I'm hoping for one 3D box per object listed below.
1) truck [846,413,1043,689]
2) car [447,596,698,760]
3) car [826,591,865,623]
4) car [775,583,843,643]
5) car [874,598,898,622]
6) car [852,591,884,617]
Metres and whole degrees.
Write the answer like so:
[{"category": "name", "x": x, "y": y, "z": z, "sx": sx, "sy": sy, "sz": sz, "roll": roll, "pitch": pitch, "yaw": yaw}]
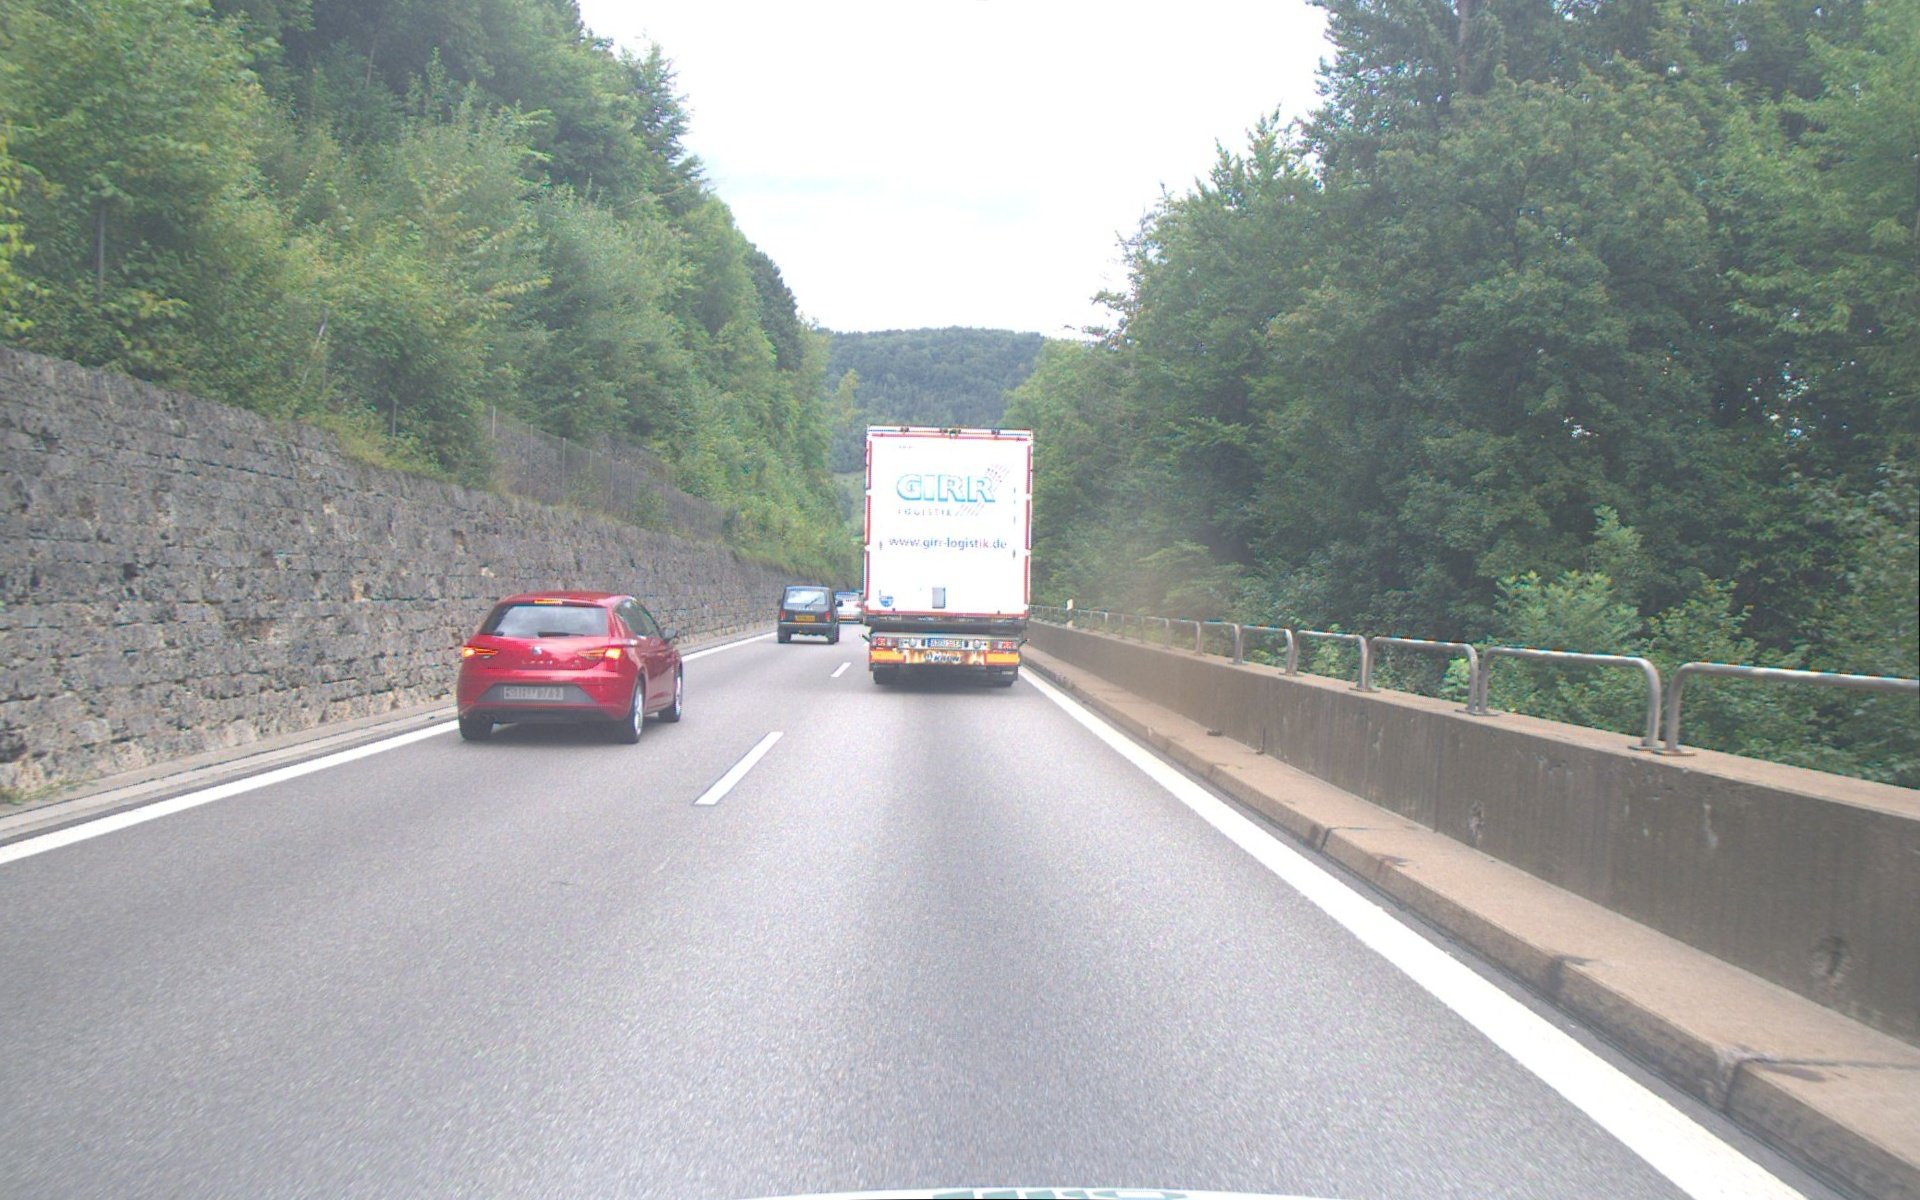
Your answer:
[{"category": "truck", "x": -0.267, "y": -0.703, "z": 28.942, "sx": 2.849, "sy": 4.030, "sz": 9.277, "roll": 1, "pitch": 0, "yaw": -1}, {"category": "car", "x": -3.900, "y": 0.731, "z": 17.362, "sx": 1.731, "sy": 1.485, "sz": 4.409, "roll": 1, "pitch": 0, "yaw": -2}, {"category": "car", "x": -5.517, "y": 0.347, "z": 80.012, "sx": 1.694, "sy": 1.512, "sz": 3.999, "roll": 1, "pitch": 0, "yaw": -1}, {"category": "car", "x": -4.362, "y": 0.388, "z": 48.230, "sx": 1.635, "sy": 1.667, "sz": 4.067, "roll": 1, "pitch": 0, "yaw": -1}, {"category": "car", "x": -6.612, "y": 0.891, "z": 147.903, "sx": 1.953, "sy": 2.049, "sz": 3.999, "roll": 1, "pitch": -1, "yaw": 0}, {"category": "car", "x": -5.907, "y": 0.265, "z": 106.538, "sx": 1.878, "sy": 1.623, "sz": 4.177, "roll": 1, "pitch": 0, "yaw": -1}]
